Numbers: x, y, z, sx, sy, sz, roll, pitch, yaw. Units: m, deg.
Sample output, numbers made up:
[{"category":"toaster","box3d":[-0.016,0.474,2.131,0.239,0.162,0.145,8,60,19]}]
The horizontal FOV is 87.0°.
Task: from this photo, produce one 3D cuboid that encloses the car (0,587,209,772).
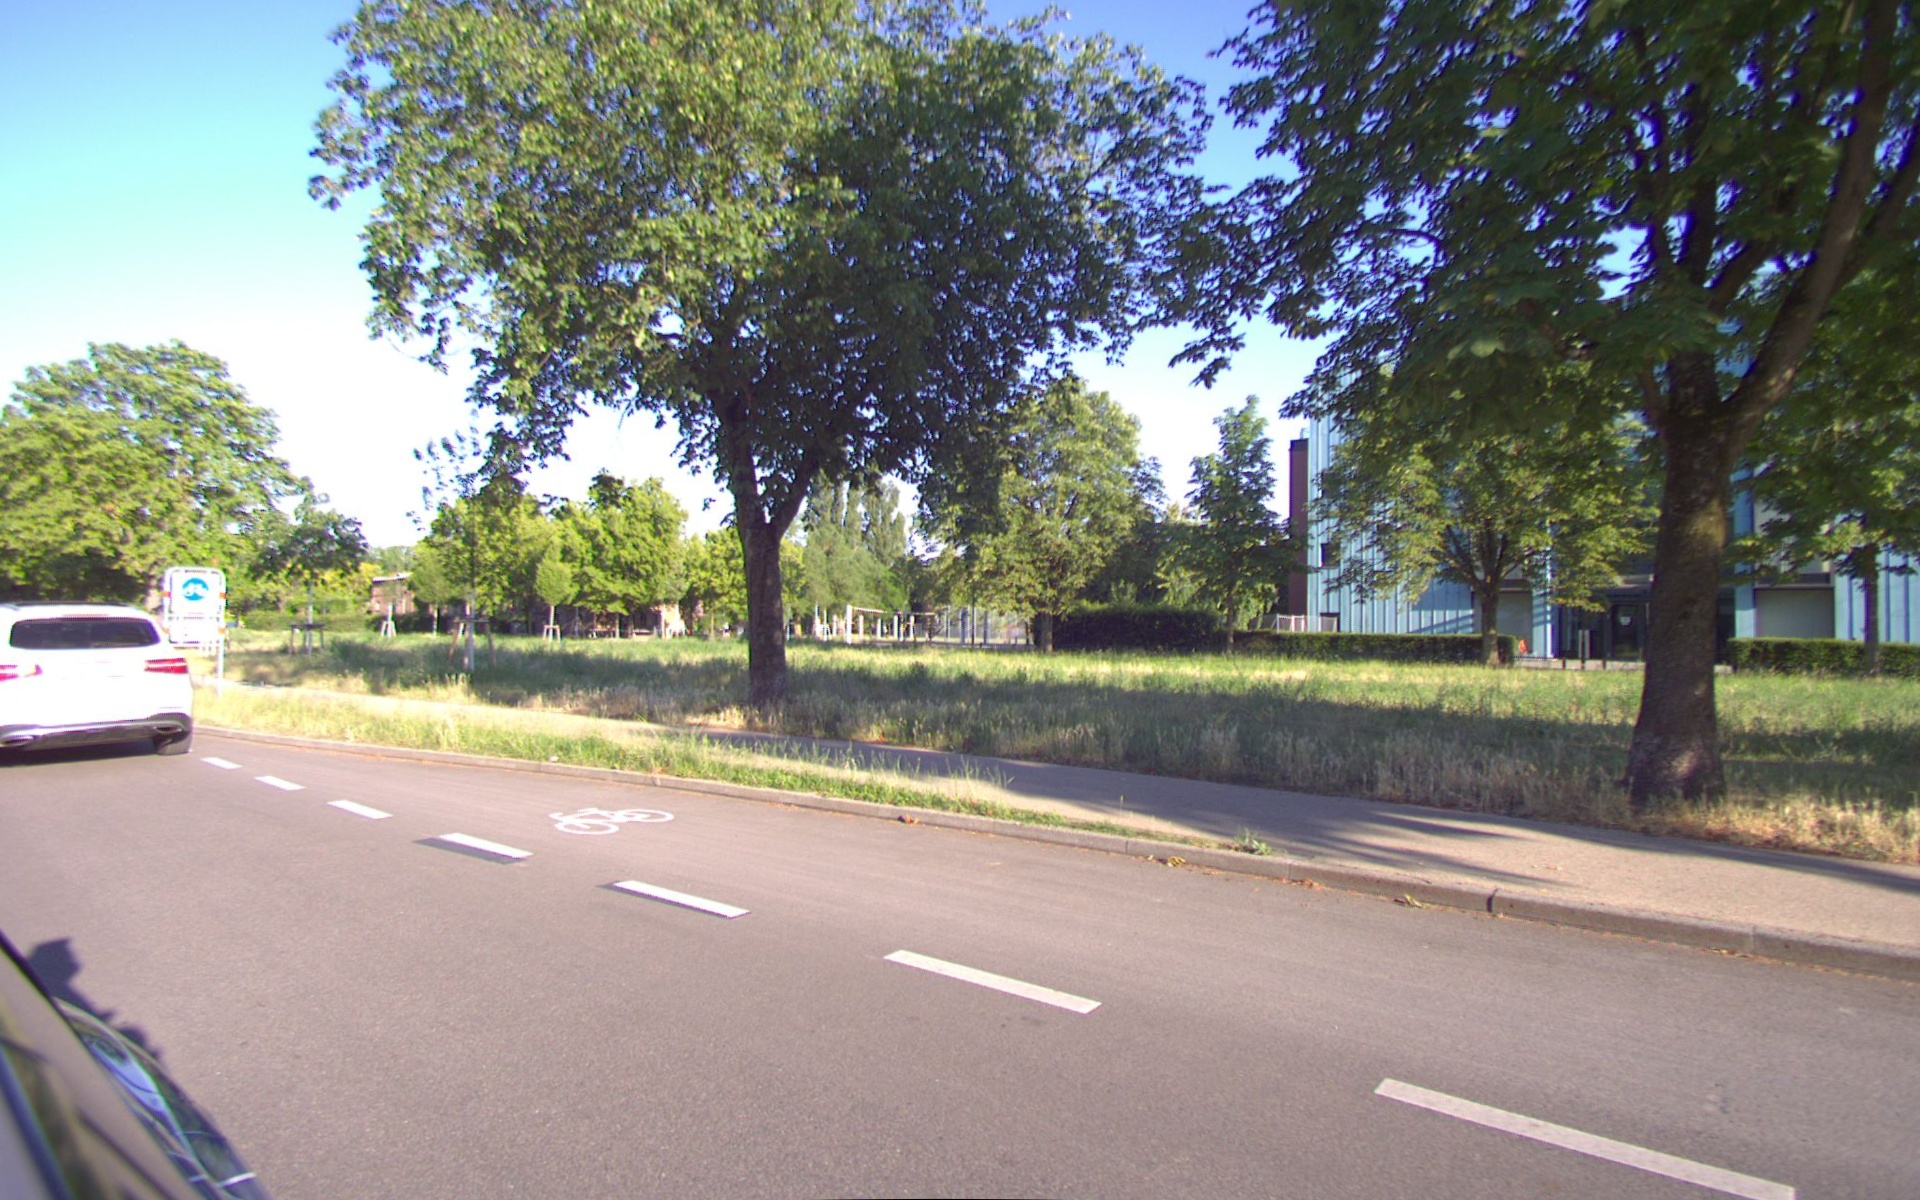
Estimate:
[{"category":"car","box3d":[-10.050,0.767,11.169,4.421,1.689,1.872,-1,-1,40]}]
